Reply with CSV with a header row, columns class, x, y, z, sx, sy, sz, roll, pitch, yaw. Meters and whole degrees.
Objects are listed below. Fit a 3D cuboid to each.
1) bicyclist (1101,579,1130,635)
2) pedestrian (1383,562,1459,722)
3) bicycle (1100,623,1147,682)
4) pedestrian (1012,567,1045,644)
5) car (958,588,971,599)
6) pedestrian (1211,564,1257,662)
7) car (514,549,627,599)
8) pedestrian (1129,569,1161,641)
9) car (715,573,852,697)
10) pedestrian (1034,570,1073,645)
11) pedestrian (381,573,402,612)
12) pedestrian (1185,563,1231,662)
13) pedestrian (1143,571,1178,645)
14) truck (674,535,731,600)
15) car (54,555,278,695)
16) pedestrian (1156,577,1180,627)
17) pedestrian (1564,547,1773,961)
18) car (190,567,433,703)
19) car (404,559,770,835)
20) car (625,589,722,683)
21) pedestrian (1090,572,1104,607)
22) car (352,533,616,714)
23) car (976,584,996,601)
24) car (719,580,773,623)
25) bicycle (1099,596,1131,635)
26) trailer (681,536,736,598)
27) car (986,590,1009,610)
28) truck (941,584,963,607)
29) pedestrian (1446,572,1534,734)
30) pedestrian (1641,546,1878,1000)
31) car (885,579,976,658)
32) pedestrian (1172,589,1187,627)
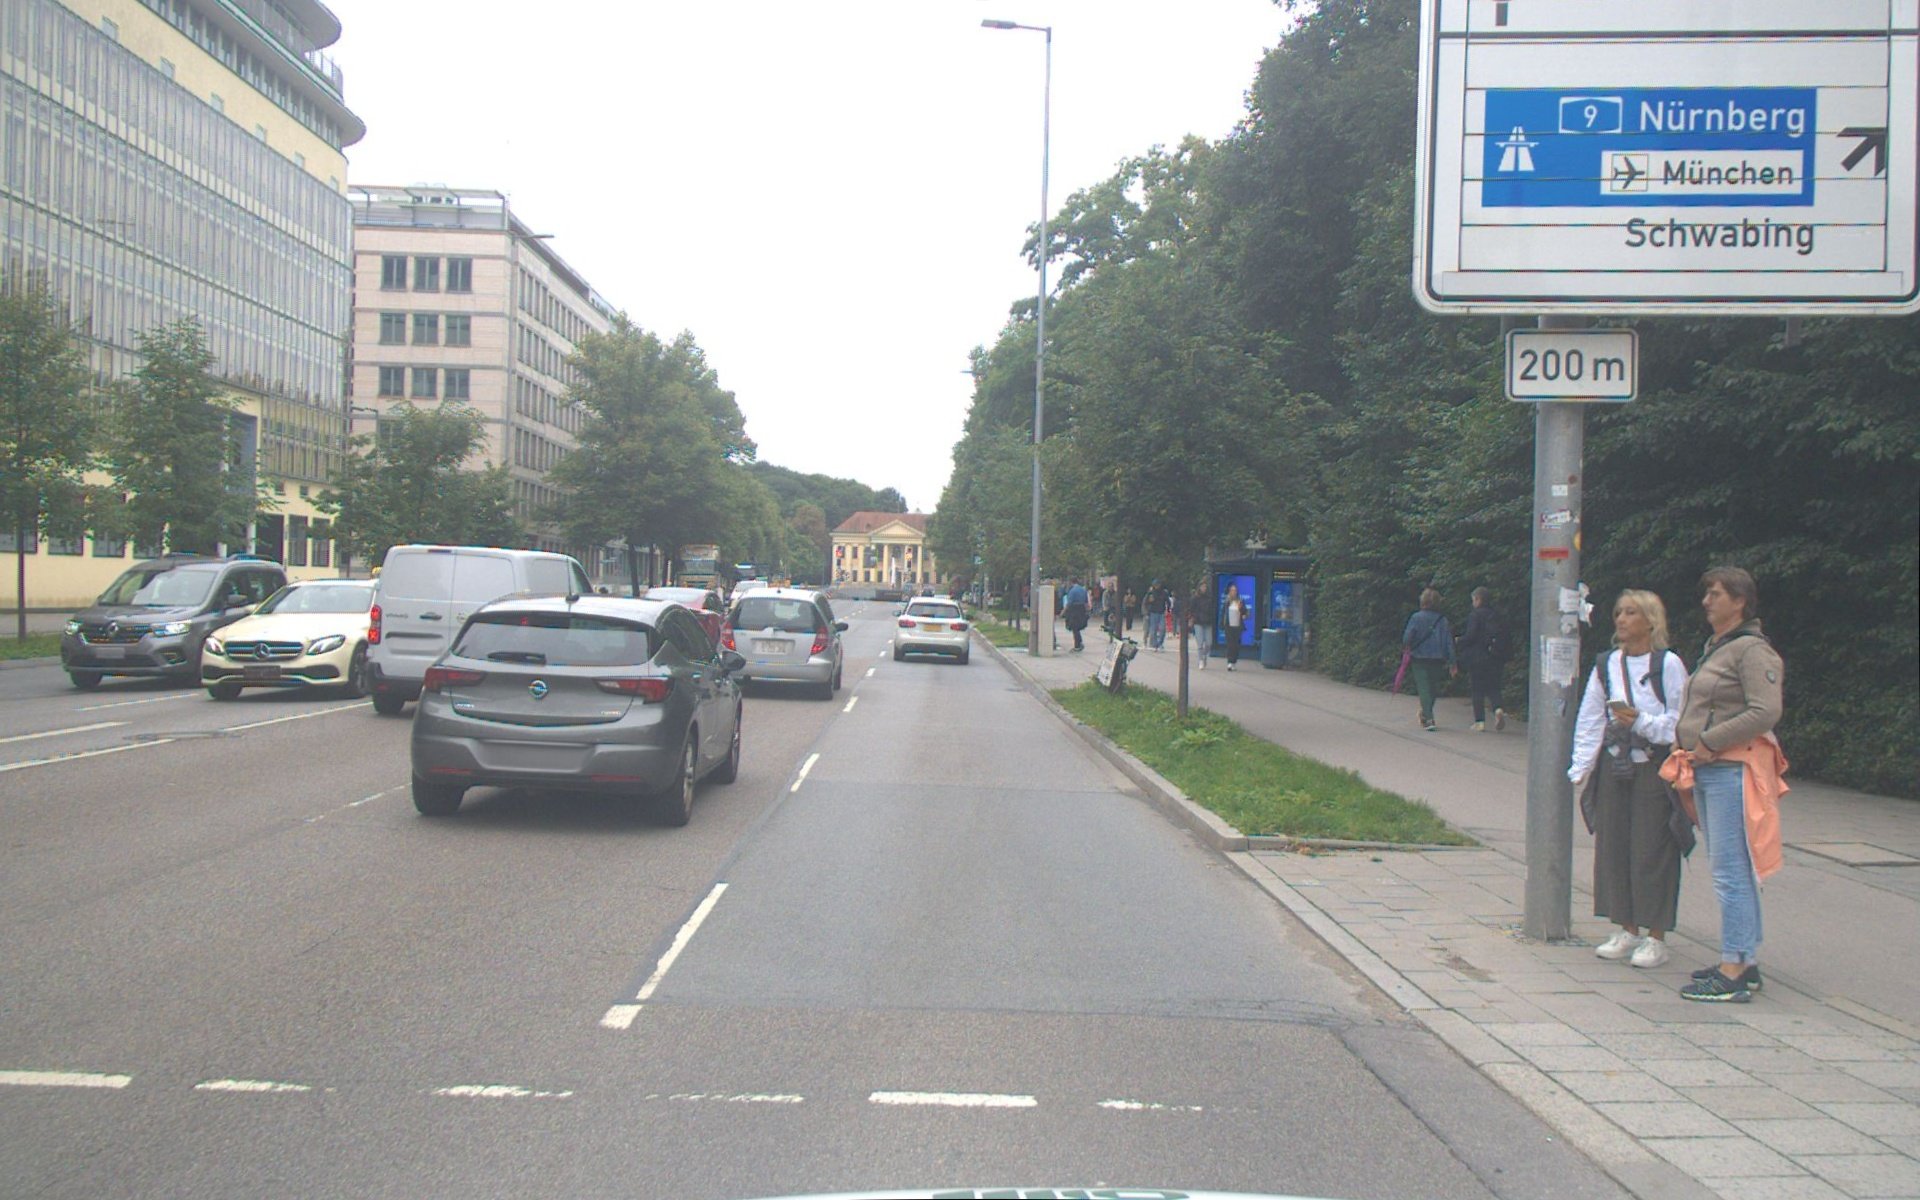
class,x,y,z,sx,sy,sz,roll,pitch,yaw
bicyclist,4.529,0.197,48.189,0.694,1.589,0.639,2,1,-2
pedestrian,5.522,0.490,19.825,0.657,1.871,0.641,2,1,0
bicycle,2.539,0.804,25.780,0.483,0.808,1.889,2,1,-1
pedestrian,1.663,0.131,40.368,0.694,1.840,0.639,2,1,-2
car,0.657,-0.873,223.030,1.689,1.346,4.028,1,2,-1
pedestrian,5.606,0.253,33.897,0.693,1.948,0.956,2,1,-1
car,-20.695,-1.386,88.074,5.570,2.580,2.154,1,1,-5
pedestrian,4.847,0.132,43.413,0.694,1.840,0.639,2,1,-2
car,-2.642,0.466,25.537,1.743,1.682,3.999,2,1,-2
pedestrian,2.455,0.191,43.243,0.790,1.913,0.542,3,1,35
pedestrian,-26.715,-0.340,77.748,0.668,1.806,0.675,2,1,3
pedestrian,5.013,0.235,33.508,0.693,1.948,0.956,2,1,-1
pedestrian,5.102,0.198,42.167,0.693,1.840,0.950,2,1,-1
truck,-16.109,-2.062,103.889,2.859,3.840,7.658,2,1,-5
car,-11.130,0.302,23.506,1.795,1.780,4.249,1,1,-11
pedestrian,7.256,0.069,57.711,0.711,1.720,0.648,2,1,4
pedestrian,3.195,0.664,7.499,0.612,1.791,0.635,1,1,-6
car,-8.334,0.384,21.720,1.793,1.569,4.816,1,1,-7
car,-2.458,0.546,11.879,1.675,1.579,4.000,2,1,0
car,-5.759,0.683,33.615,1.746,1.682,3.994,2,1,-8
pedestrian,7.336,-0.547,88.545,0.576,1.854,0.850,2,1,0
car,-5.534,0.218,19.933,1.860,1.880,4.954,1,1,-2
car,2.372,-0.692,150.115,1.689,1.490,4.775,0,1,0
car,-9.457,0.056,73.278,1.819,1.779,4.629,-1,1,-1
bicycle,4.495,0.438,48.188,0.661,1.048,2.012,2,1,-1
trailer,-16.803,-2.203,111.092,2.893,3.805,11.757,2,1,-6
car,3.144,-0.044,138.062,1.790,1.576,4.751,0,1,0
truck,-1.348,-0.773,260.394,3.258,3.425,8.661,2,1,-1
pedestrian,6.316,0.616,19.728,0.735,1.871,0.756,2,1,0
pedestrian,3.303,0.681,6.876,0.597,1.791,0.634,1,1,-9
car,-0.751,0.391,39.317,1.745,1.673,3.995,2,1,-6
pedestrian,7.839,0.276,59.149,0.448,1.349,0.648,2,1,4
